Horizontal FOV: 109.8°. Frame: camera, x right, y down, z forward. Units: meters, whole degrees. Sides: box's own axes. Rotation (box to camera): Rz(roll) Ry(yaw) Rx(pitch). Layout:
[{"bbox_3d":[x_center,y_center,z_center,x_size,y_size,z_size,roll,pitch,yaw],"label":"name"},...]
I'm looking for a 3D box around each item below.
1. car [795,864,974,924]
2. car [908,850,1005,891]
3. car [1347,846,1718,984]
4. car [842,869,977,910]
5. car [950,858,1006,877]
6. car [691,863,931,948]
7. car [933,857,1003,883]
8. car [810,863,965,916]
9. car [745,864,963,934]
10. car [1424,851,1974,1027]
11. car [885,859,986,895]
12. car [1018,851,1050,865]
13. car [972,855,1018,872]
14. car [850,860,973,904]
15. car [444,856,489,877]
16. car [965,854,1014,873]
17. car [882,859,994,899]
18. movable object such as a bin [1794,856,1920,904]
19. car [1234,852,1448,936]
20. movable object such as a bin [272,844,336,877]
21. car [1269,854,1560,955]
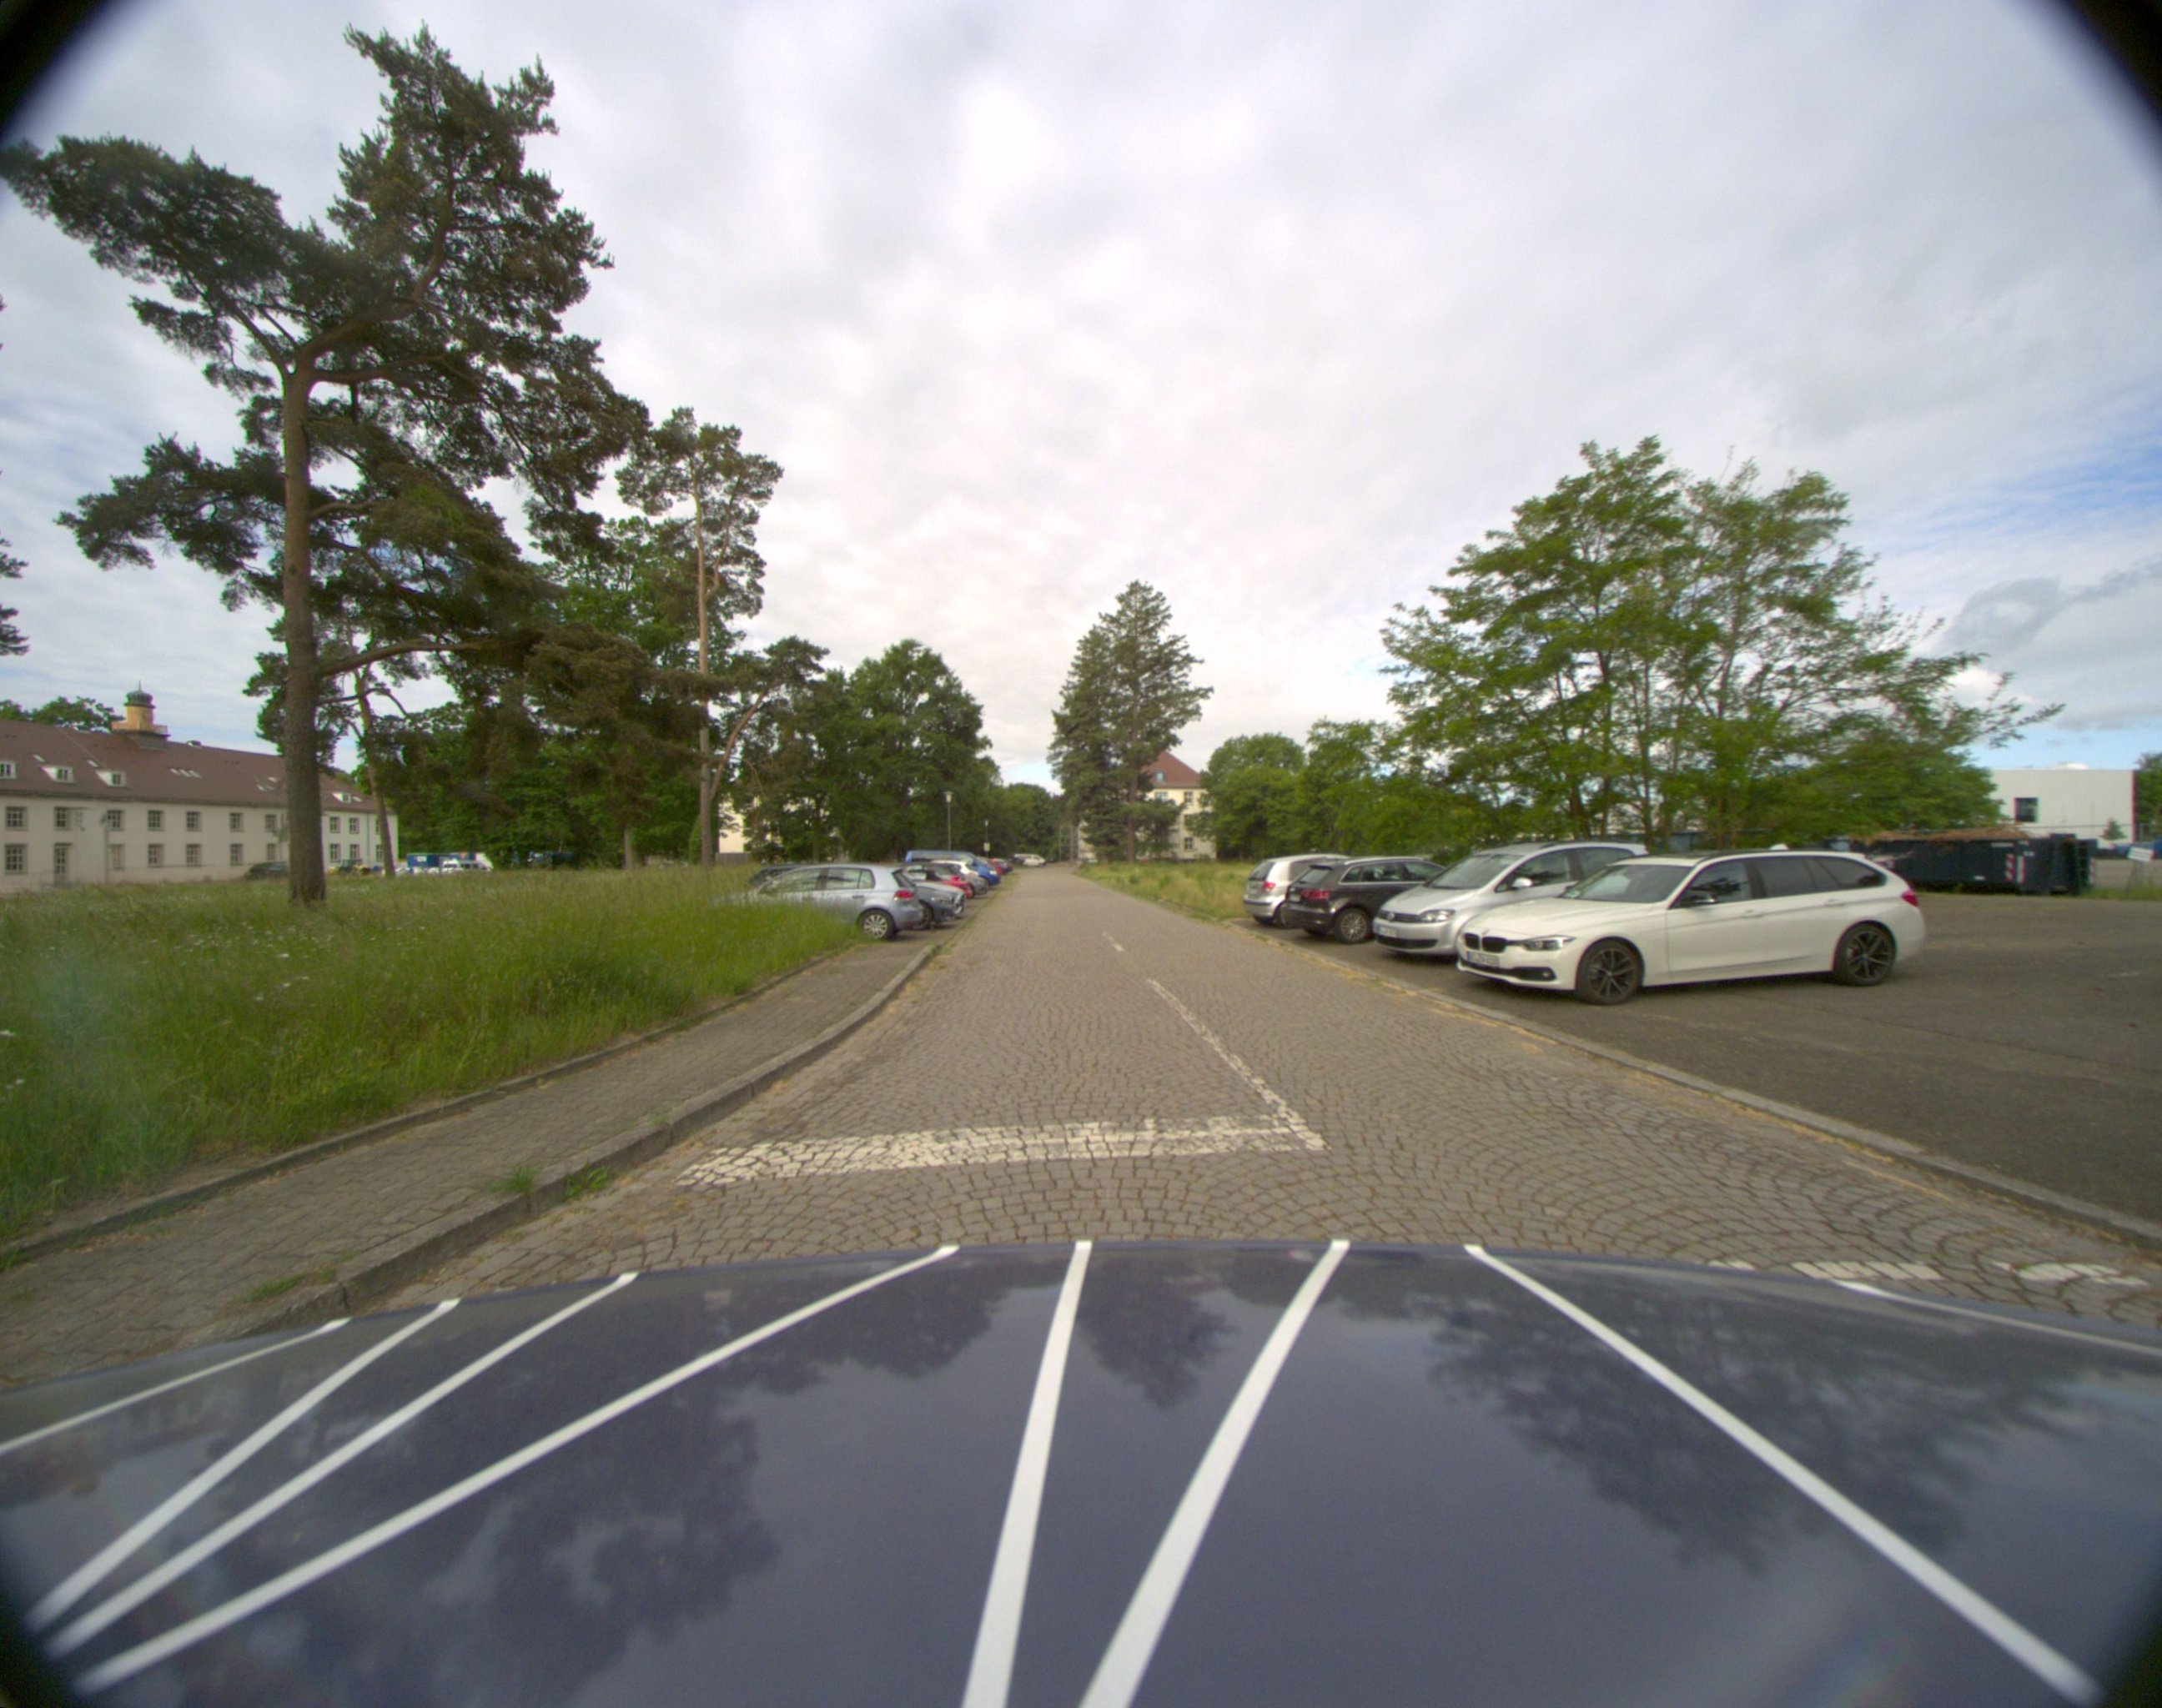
[{"bbox_3d":[-5.065,1.015,19.984,4.248,1.465,1.717,0,0,-1],"label":"car"},{"bbox_3d":[-6.224,0.794,38.435,4.603,1.994,1.911,0,1,-2],"label":"car"},{"bbox_3d":[6.369,0.769,10.946,4.377,1.588,1.871,-2,1,-9],"label":"car"},{"bbox_3d":[-5.476,1.125,24.631,4.052,1.233,1.549,0,0,-3],"label":"car"},{"bbox_3d":[-7.777,1.010,57.589,4.084,1.436,1.726,0,0,-2],"label":"car"},{"bbox_3d":[-5.026,0.951,14.605,4.013,1.420,1.697,2,0,-5],"label":"car"},{"bbox_3d":[-7.004,1.001,47.304,4.084,1.584,1.654,0,0,-1],"label":"car"},{"bbox_3d":[-5.612,1.032,22.433,4.185,1.473,1.717,0,0,-3],"label":"car"},{"bbox_3d":[-5.011,0.991,17.238,4.441,1.375,1.663,2,0,-5],"label":"car"},{"bbox_3d":[6.587,0.823,8.410,4.753,1.479,1.866,-2,0,-6],"label":"car"},{"bbox_3d":[-6.267,0.983,33.011,4.051,1.507,1.600,0,0,-1],"label":"car"},{"bbox_3d":[-7.523,0.630,121.406,5.151,2.137,1.774,0,0,-6],"label":"car"},{"bbox_3d":[-8.201,0.897,72.623,4.092,1.524,1.727,0,0,4],"label":"car"},{"bbox_3d":[-6.024,0.987,27.269,4.051,1.507,1.600,0,0,-1],"label":"car"},{"bbox_3d":[-73.370,1.512,90.829,1.862,2.351,4.445,-2,1,-3],"label":"car"},{"bbox_3d":[-8.130,0.832,67.931,4.082,1.685,1.727,0,0,4],"label":"car"},{"bbox_3d":[-5.615,0.983,30.123,4.098,1.507,1.700,0,0,-1],"label":"car"},{"bbox_3d":[18.614,0.610,18.254,2.268,1.119,0.858,0,1,-5],"label":"movable object such as a bin"},{"bbox_3d":[5.476,0.796,16.216,3.961,1.462,1.584,-3,1,-6],"label":"car"},{"bbox_3d":[-93.769,0.748,91.789,5.459,3.748,2.052,-2,1,0],"label":"movable object such as a bin"},{"bbox_3d":[5.830,0.831,13.559,4.448,1.416,1.721,-3,1,-5],"label":"car"}]
